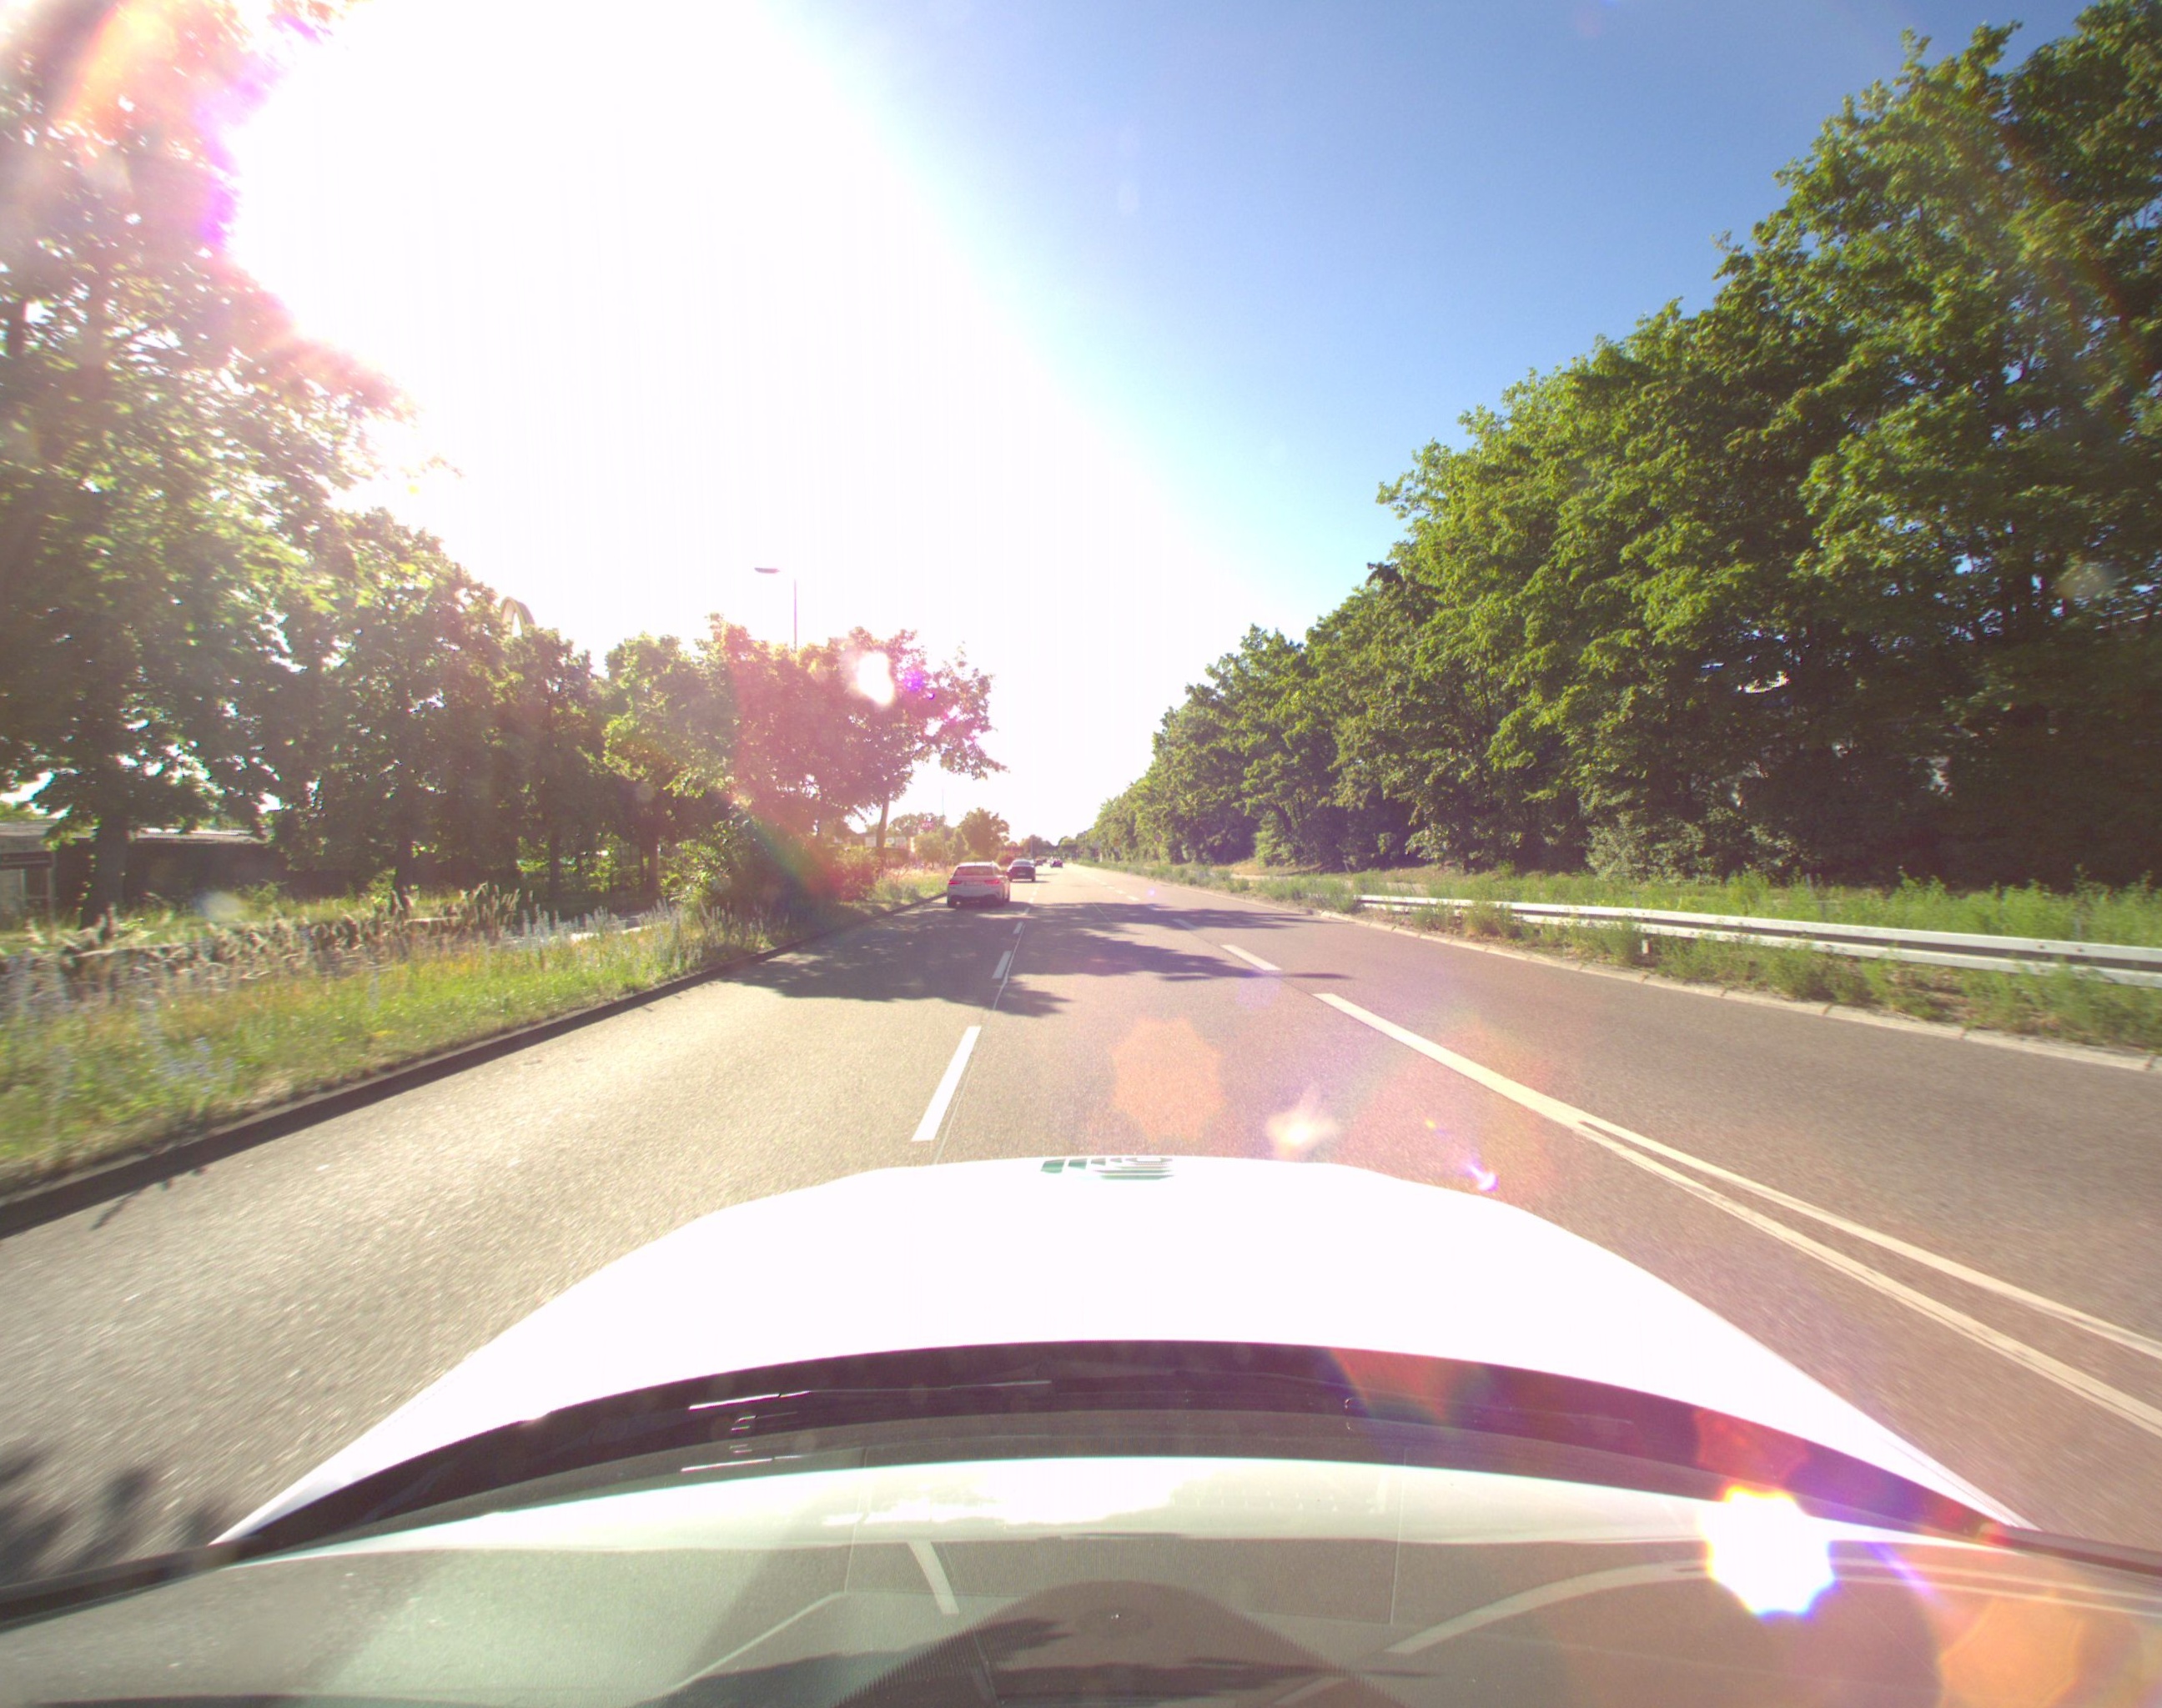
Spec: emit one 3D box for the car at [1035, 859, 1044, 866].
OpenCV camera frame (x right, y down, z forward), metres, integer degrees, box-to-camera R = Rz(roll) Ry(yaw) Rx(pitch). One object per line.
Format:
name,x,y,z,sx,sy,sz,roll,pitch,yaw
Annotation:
car,-9.031,1.868,178.555,1.857,1.565,4.543,-2,0,-3

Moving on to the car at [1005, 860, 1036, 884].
car,-3.956,1.153,53.791,1.857,1.455,4.543,-2,0,-3

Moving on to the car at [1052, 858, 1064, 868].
car,-3.847,1.495,135.677,1.857,1.499,4.332,-2,0,-3

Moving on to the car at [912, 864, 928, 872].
car,-42.796,3.719,216.461,4.035,1.783,1.939,-2,-1,44

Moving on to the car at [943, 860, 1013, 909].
car,-3.352,0.948,27.320,1.857,1.455,4.544,-1,0,-2

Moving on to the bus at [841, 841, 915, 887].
bus,-13.949,0.634,56.974,2.715,2.721,11.076,-5,0,-3
